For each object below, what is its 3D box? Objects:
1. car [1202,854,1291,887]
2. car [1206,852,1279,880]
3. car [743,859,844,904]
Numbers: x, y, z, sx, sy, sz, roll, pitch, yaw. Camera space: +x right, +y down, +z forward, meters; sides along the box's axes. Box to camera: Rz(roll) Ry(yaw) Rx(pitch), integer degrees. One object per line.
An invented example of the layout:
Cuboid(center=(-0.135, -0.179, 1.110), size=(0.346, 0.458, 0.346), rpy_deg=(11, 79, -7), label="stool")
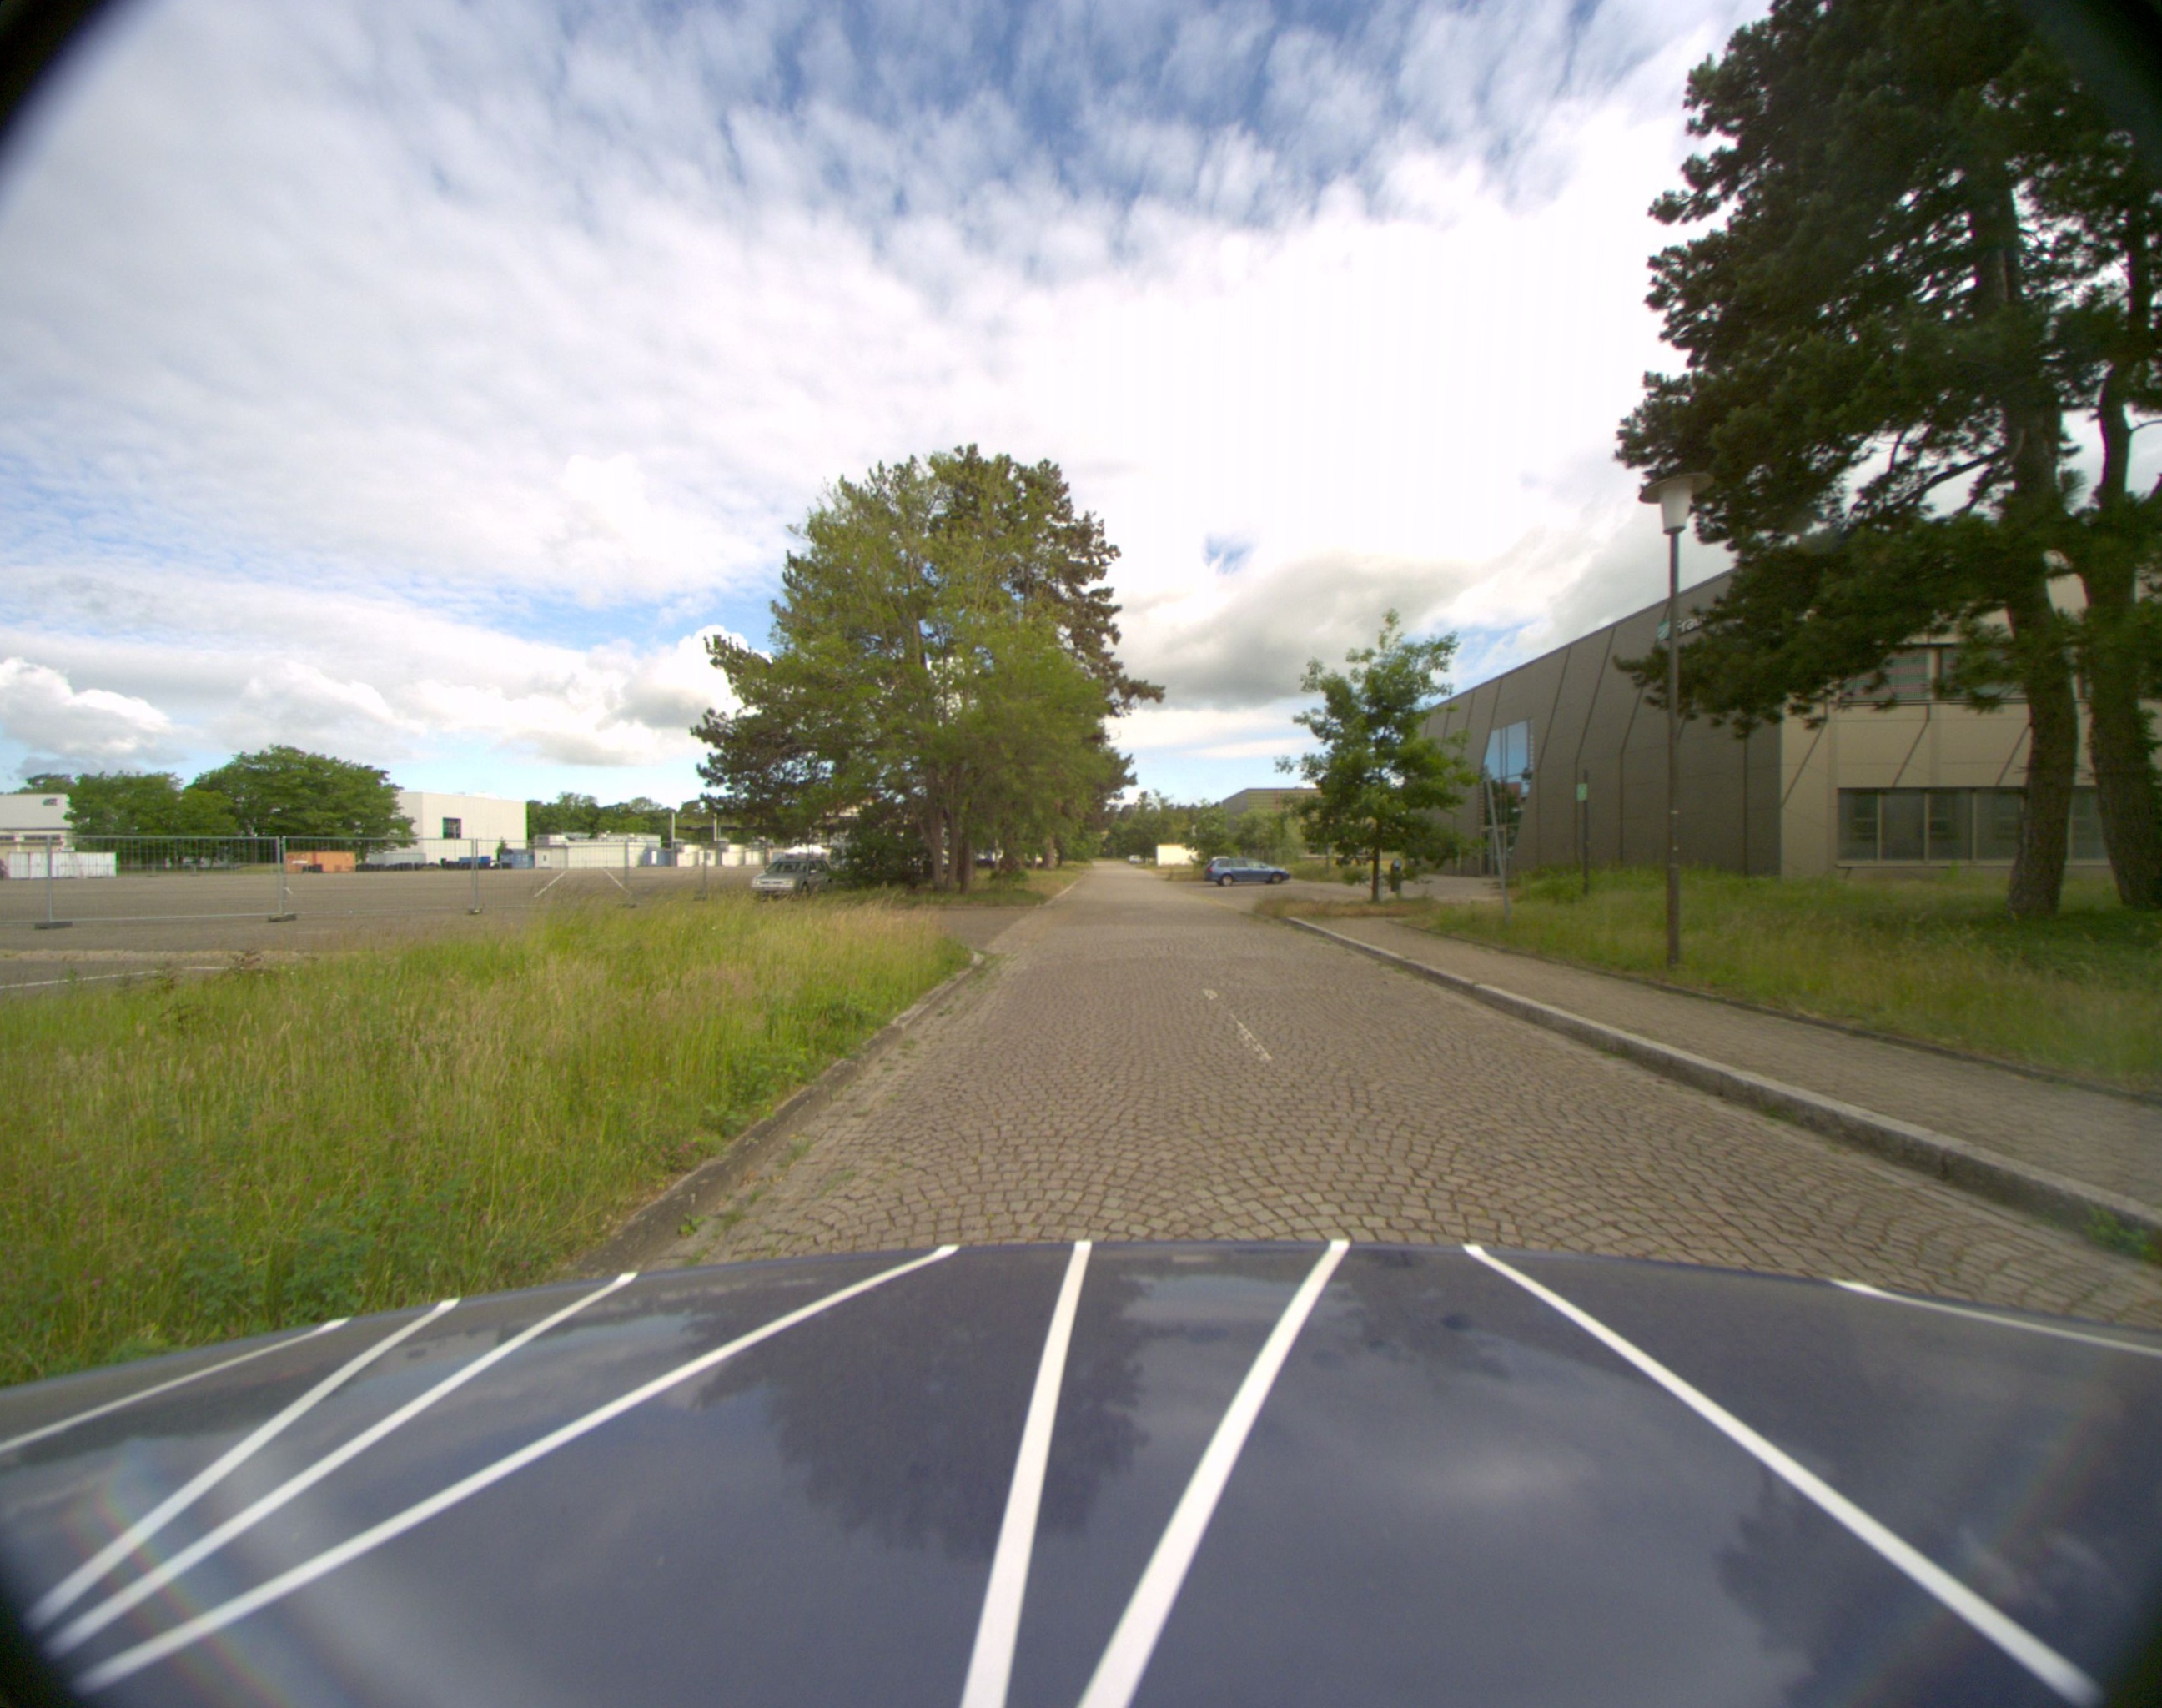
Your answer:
Cuboid(center=(8.874, 0.868, 40.995), size=(4.403, 1.501, 1.717), rpy_deg=(-3, 0, -1), label="car")
Cuboid(center=(10.218, 0.749, 48.493), size=(4.400, 1.537, 1.842), rpy_deg=(-3, 0, 9), label="car")
Cuboid(center=(-10.111, 0.914, 27.114), size=(1.759, 1.440, 4.328), rpy_deg=(0, 0, 3), label="car")
